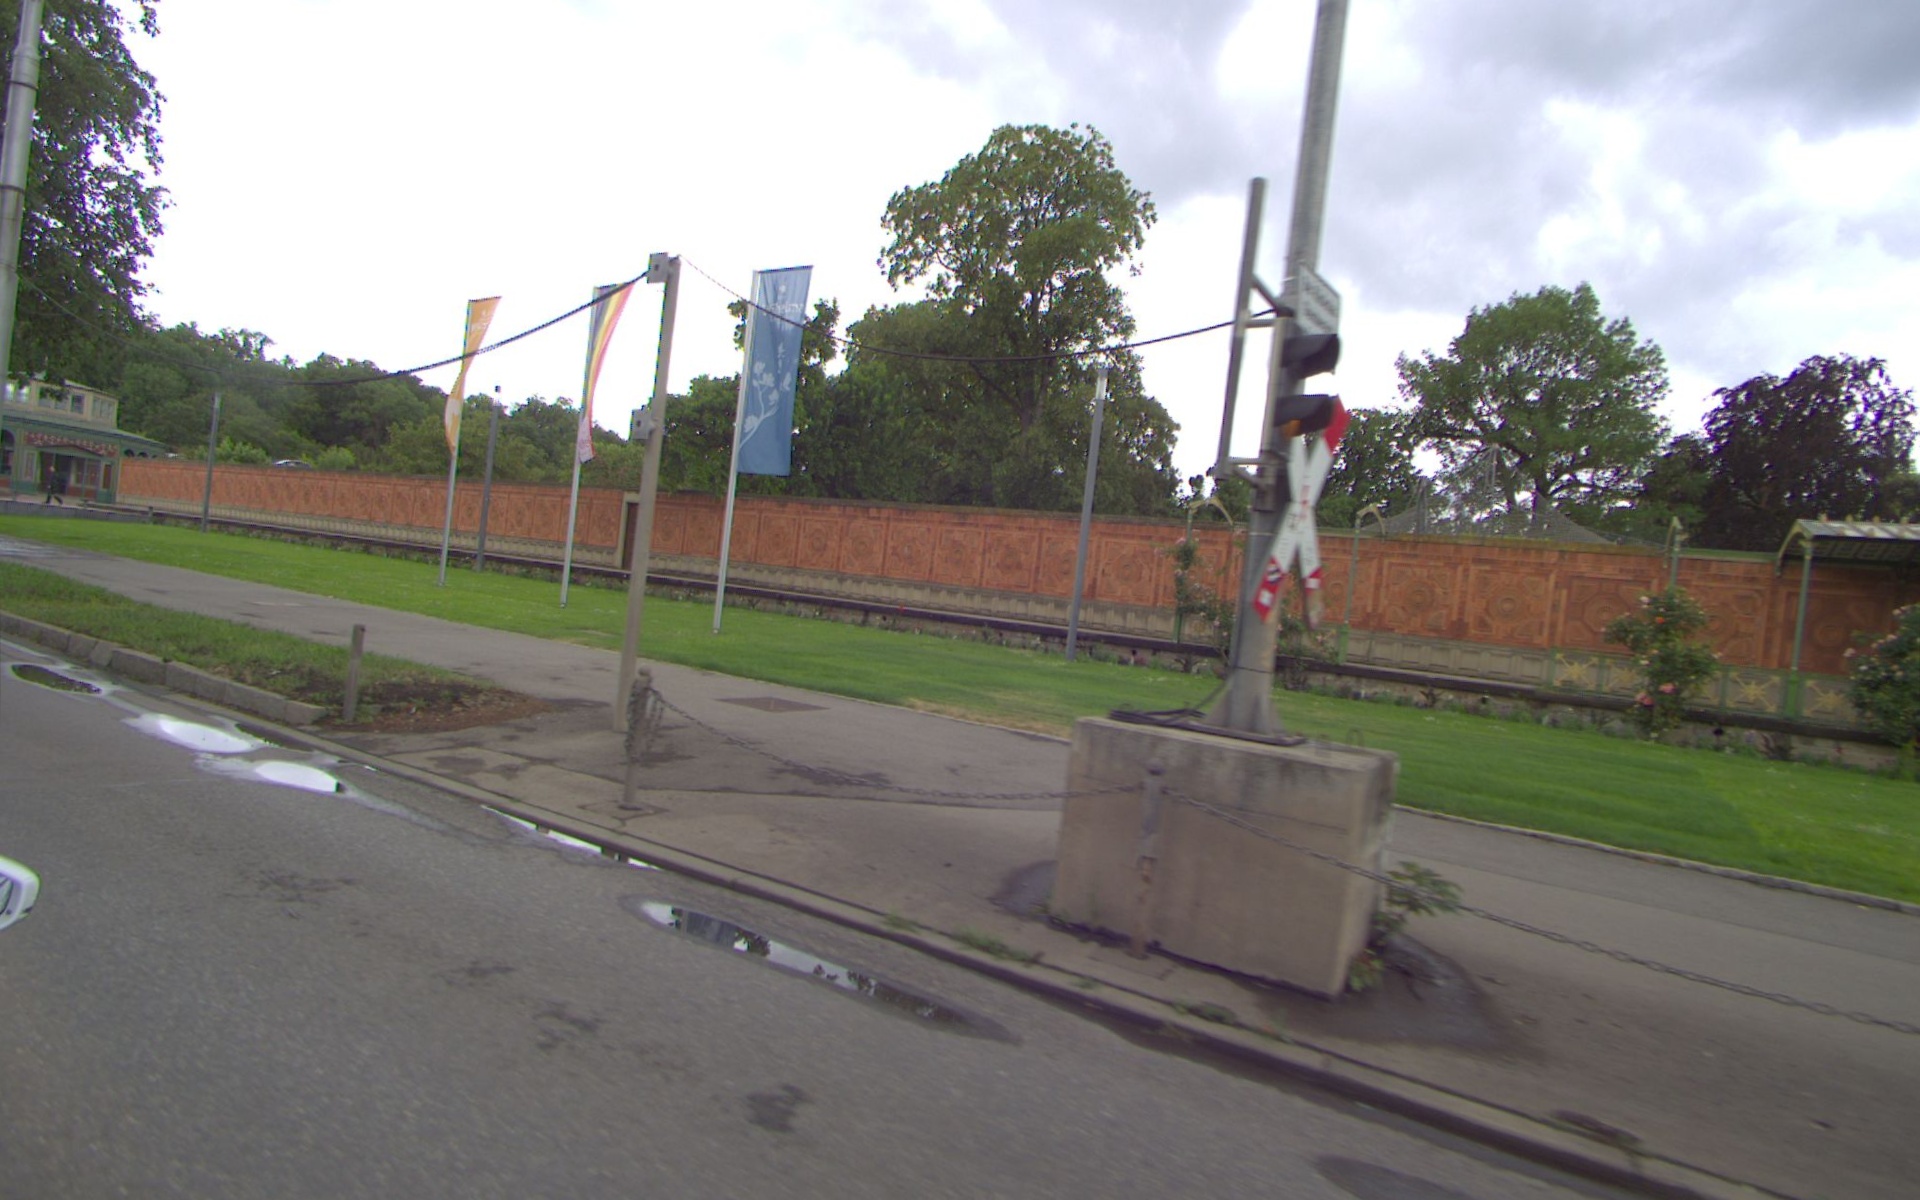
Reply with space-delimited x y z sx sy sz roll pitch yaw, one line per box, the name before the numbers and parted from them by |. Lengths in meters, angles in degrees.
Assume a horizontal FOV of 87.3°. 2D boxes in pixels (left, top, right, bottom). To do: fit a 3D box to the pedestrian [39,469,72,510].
pedestrian | -45.611 -5.565 50.742 0.942 1.859 0.546 8 -1 -29
